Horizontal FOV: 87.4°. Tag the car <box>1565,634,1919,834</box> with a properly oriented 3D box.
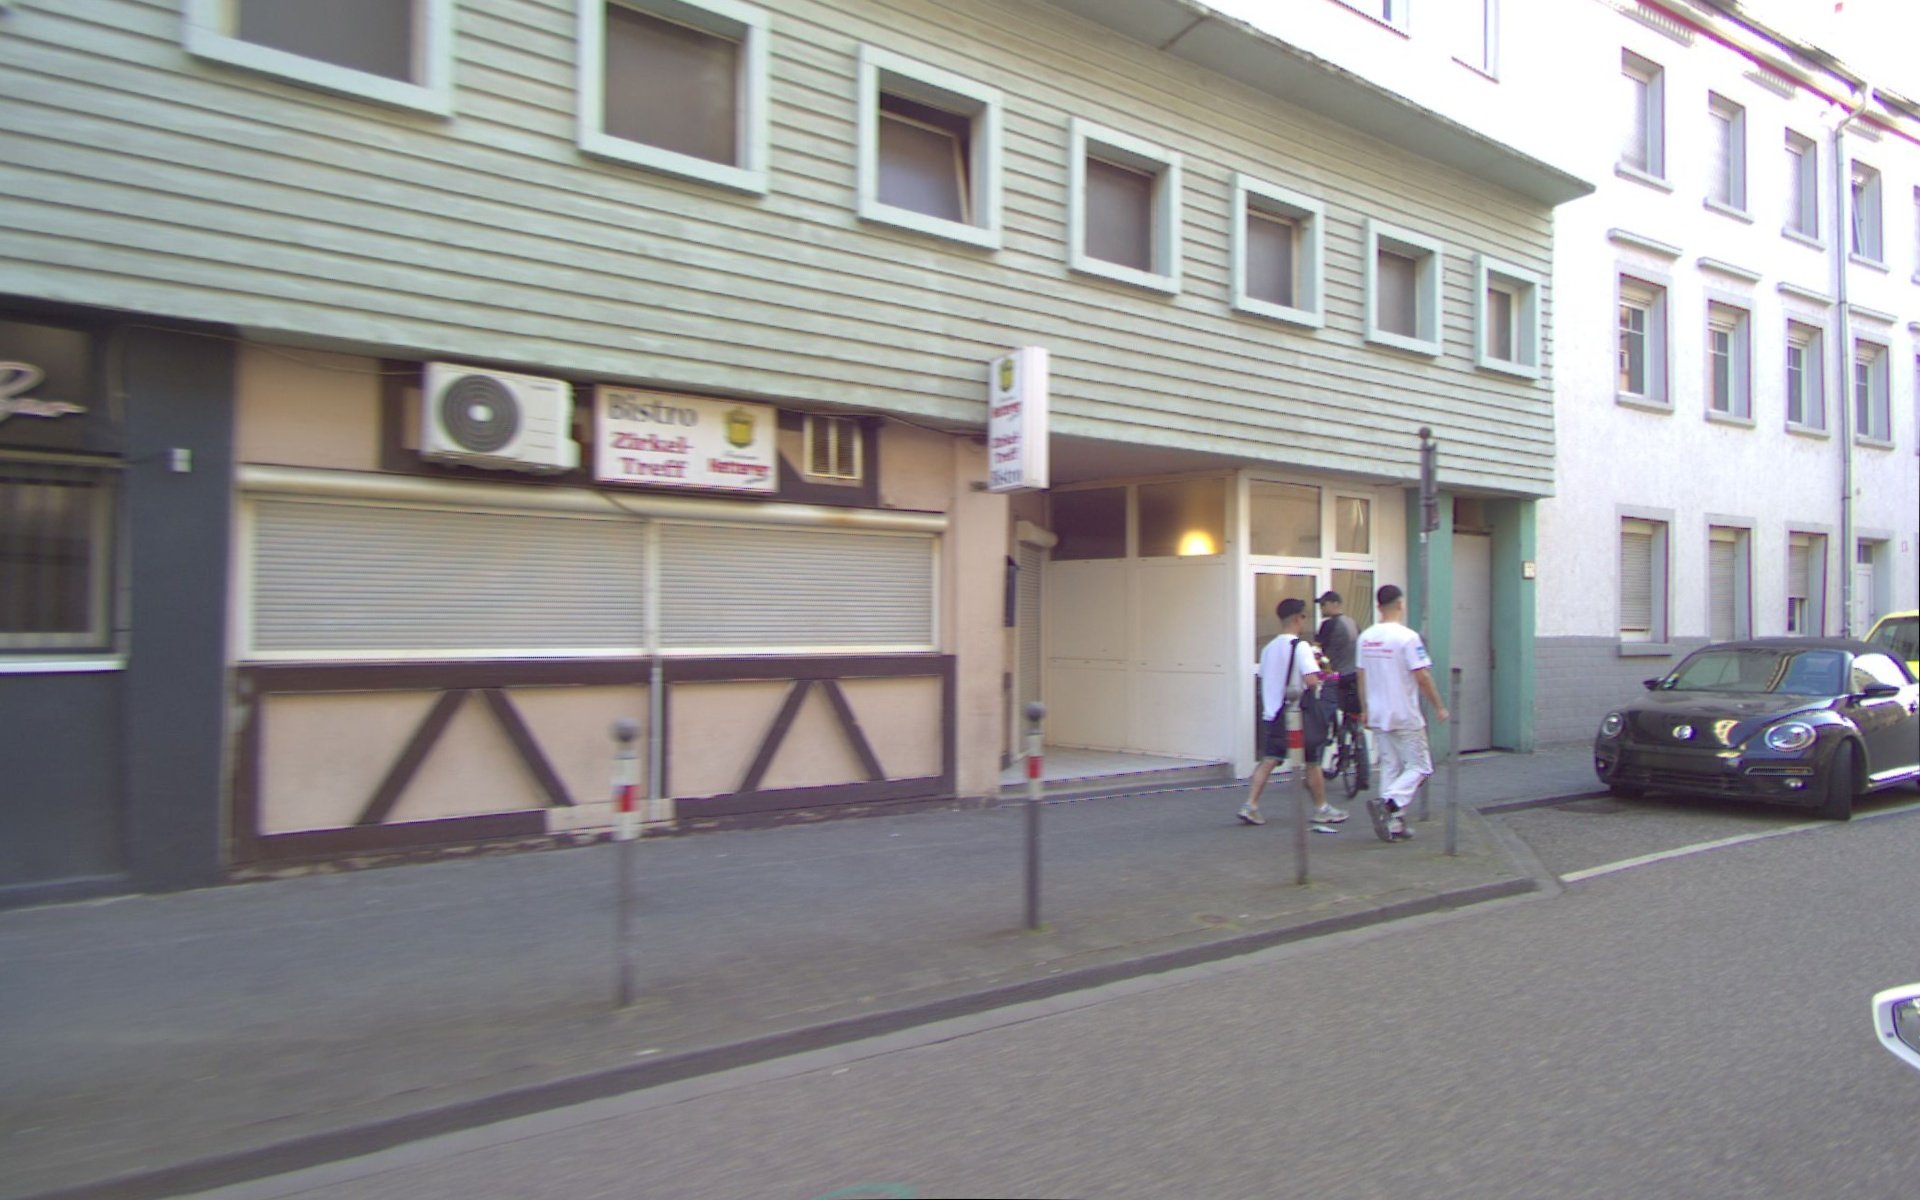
[{"bbox_3d":[7.746,1.115,9.429,4.029,1.505,1.811,1,-5,-31],"label":"car"}]

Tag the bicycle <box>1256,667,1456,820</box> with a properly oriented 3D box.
[{"bbox_3d":[3.588,1.250,9.362,0.808,1.178,2.133,0,-2,-7],"label":"bicycle"}]

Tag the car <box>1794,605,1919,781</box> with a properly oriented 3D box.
[{"bbox_3d":[12.341,1.043,12.063,4.804,1.891,1.873,1,-4,-29],"label":"car"}]

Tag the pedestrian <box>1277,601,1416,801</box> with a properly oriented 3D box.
[{"bbox_3d":[3.583,0.905,9.403,0.787,1.751,1.080,0,-2,-7],"label":"pedestrian"}]

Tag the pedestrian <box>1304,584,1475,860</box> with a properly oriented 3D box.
[{"bbox_3d":[2.954,0.802,6.938,0.819,1.757,0.695,1,-3,-30],"label":"pedestrian"}]

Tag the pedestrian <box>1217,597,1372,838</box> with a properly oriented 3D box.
[{"bbox_3d":[2.524,0.846,7.604,0.884,1.691,0.669,1,-3,-30],"label":"pedestrian"}]
